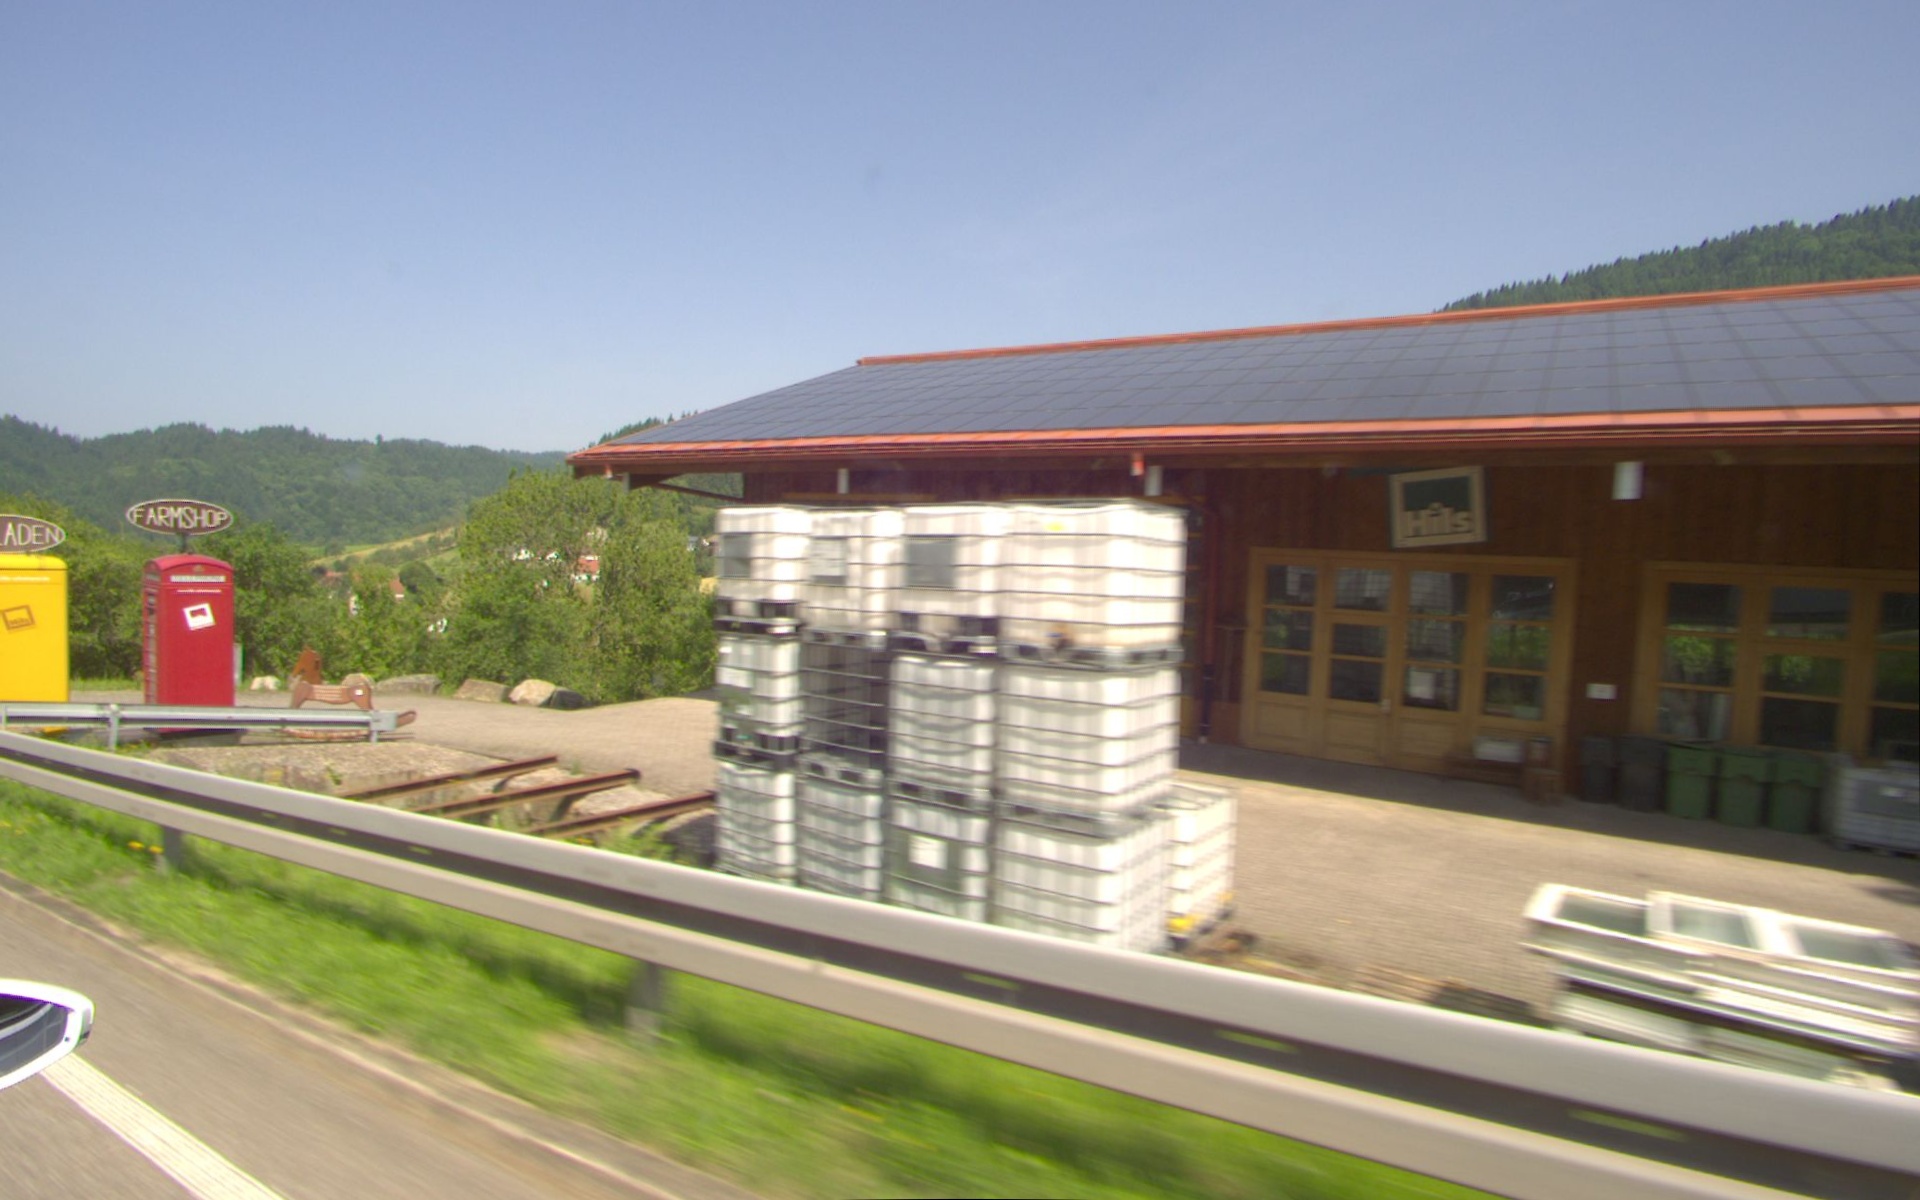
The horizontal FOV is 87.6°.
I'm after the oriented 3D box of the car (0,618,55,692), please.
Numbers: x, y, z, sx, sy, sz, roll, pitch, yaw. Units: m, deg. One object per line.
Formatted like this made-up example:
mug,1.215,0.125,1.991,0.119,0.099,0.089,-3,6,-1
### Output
car,-22.900,1.159,21.897,4.375,1.591,1.906,1,-1,-2
